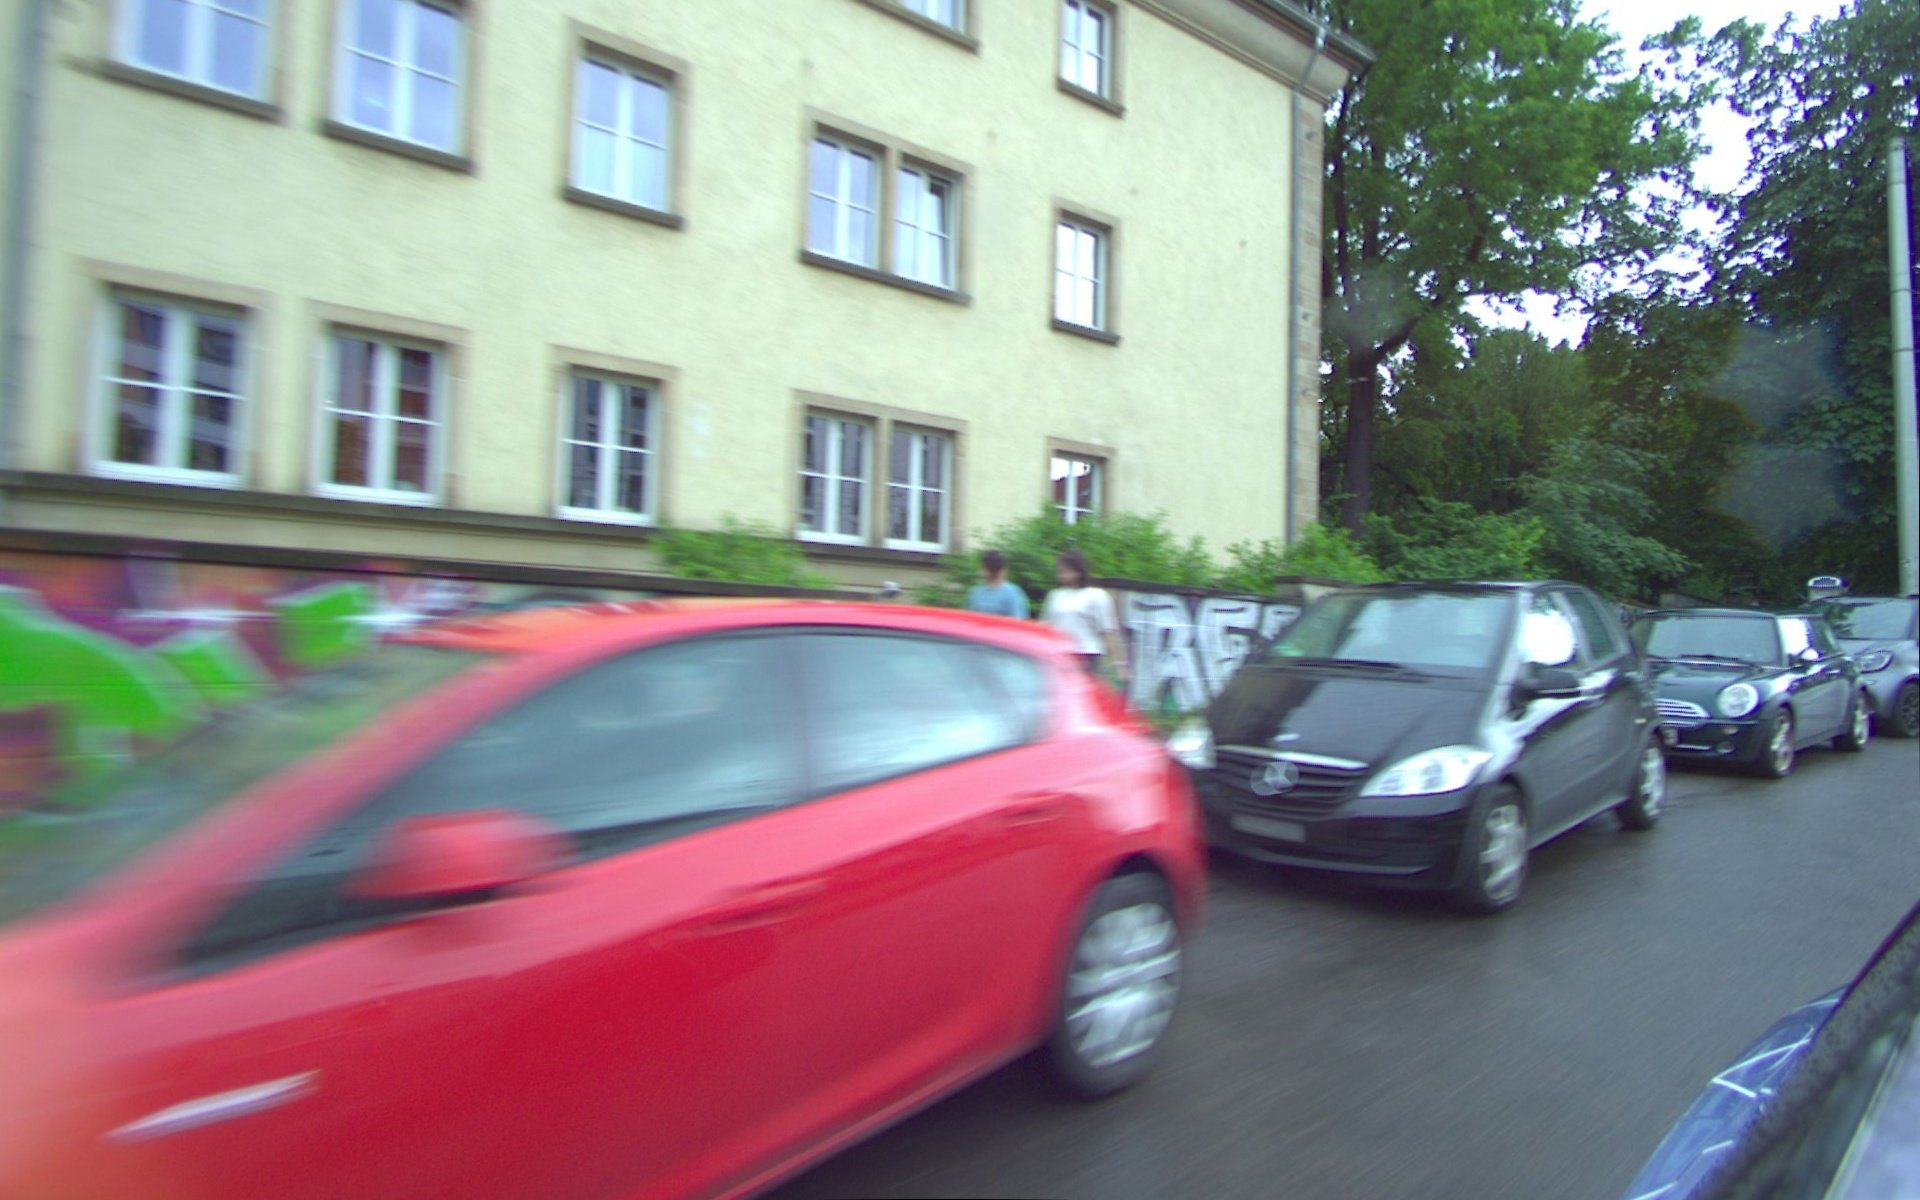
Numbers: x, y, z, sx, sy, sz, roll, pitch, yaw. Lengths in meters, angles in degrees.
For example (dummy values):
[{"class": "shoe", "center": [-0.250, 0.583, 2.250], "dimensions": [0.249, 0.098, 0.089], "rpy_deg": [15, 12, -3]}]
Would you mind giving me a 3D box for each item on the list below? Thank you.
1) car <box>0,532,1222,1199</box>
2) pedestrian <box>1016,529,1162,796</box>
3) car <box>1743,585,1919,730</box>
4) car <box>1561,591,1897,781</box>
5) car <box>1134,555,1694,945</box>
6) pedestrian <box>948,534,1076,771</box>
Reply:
[{"class": "car", "center": [-1.116, 0.675, 2.526], "dimensions": [1.665, 1.495, 4.001], "rpy_deg": [-1, -1, 44]}, {"class": "pedestrian", "center": [0.910, 0.410, 7.218], "dimensions": [0.724, 1.777, 0.720], "rpy_deg": [1, 0, -33]}, {"class": "car", "center": [10.726, 0.592, 11.592], "dimensions": [2.663, 1.484, 1.606], "rpy_deg": [1, 1, -21]}, {"class": "car", "center": [7.260, 0.663, 9.460], "dimensions": [3.575, 1.434, 1.541], "rpy_deg": [0, 1, -36]}, {"class": "car", "center": [2.885, 0.594, 6.033], "dimensions": [3.790, 1.593, 1.668], "rpy_deg": [0, 1, -42]}, {"class": "pedestrian", "center": [0.411, 0.390, 8.117], "dimensions": [0.724, 1.777, 0.720], "rpy_deg": [1, 0, -33]}]
